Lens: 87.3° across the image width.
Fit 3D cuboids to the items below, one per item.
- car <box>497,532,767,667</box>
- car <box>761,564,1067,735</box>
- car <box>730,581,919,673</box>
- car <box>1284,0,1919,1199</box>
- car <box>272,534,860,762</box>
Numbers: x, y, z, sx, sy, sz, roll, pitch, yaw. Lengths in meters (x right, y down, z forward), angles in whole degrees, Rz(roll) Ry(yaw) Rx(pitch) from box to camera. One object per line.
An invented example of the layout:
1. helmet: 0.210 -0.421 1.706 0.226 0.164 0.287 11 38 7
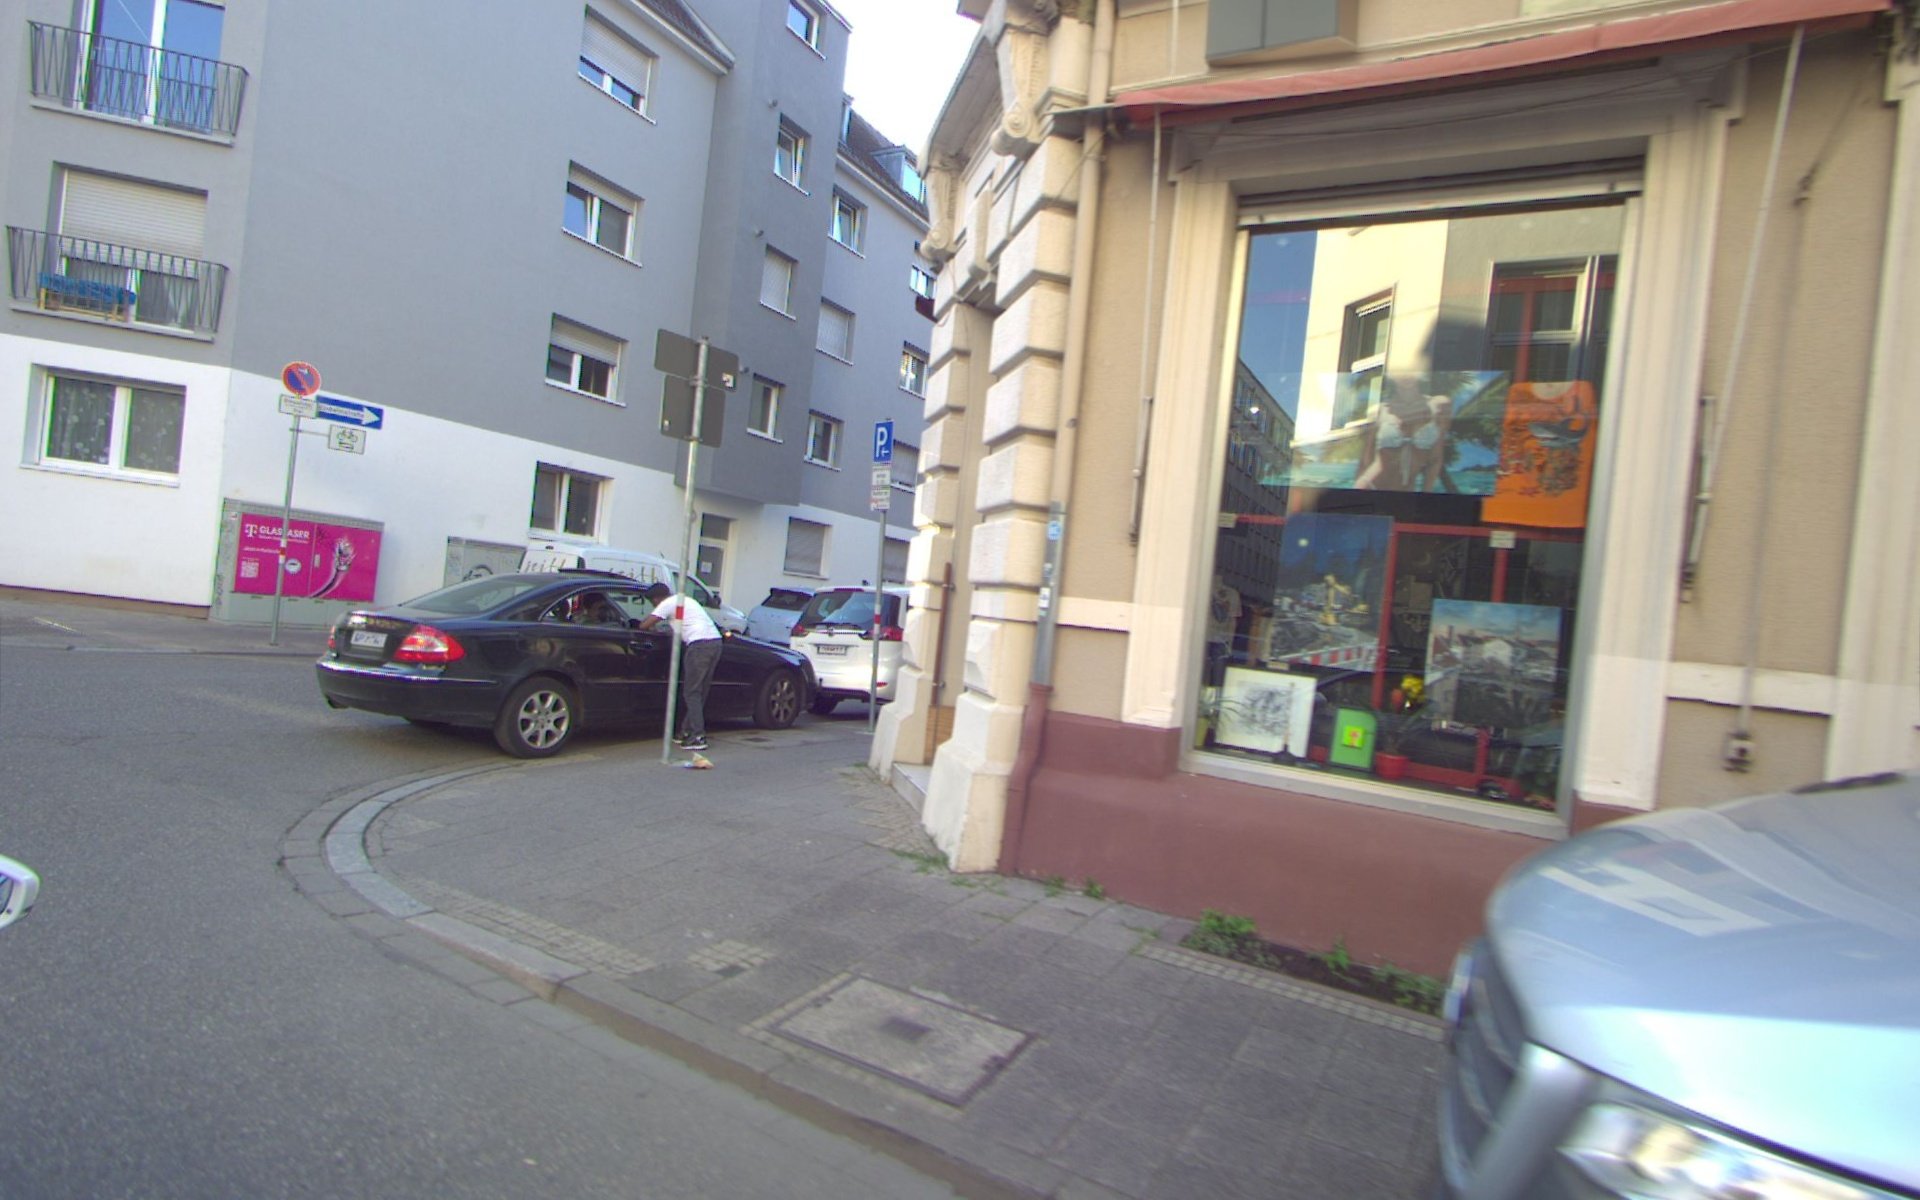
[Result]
1. car: -5.319 0.089 16.871 1.608 1.836 4.178 7 0 29
2. car: -0.393 0.681 13.405 1.792 1.745 4.453 7 0 30
3. car: -2.723 0.613 21.339 1.738 1.583 4.361 6 0 26
4. car: 3.593 0.587 0.549 6.100 2.470 2.279 7 0 31
5. car: -3.177 0.454 9.194 1.859 1.425 4.717 7 0 33
